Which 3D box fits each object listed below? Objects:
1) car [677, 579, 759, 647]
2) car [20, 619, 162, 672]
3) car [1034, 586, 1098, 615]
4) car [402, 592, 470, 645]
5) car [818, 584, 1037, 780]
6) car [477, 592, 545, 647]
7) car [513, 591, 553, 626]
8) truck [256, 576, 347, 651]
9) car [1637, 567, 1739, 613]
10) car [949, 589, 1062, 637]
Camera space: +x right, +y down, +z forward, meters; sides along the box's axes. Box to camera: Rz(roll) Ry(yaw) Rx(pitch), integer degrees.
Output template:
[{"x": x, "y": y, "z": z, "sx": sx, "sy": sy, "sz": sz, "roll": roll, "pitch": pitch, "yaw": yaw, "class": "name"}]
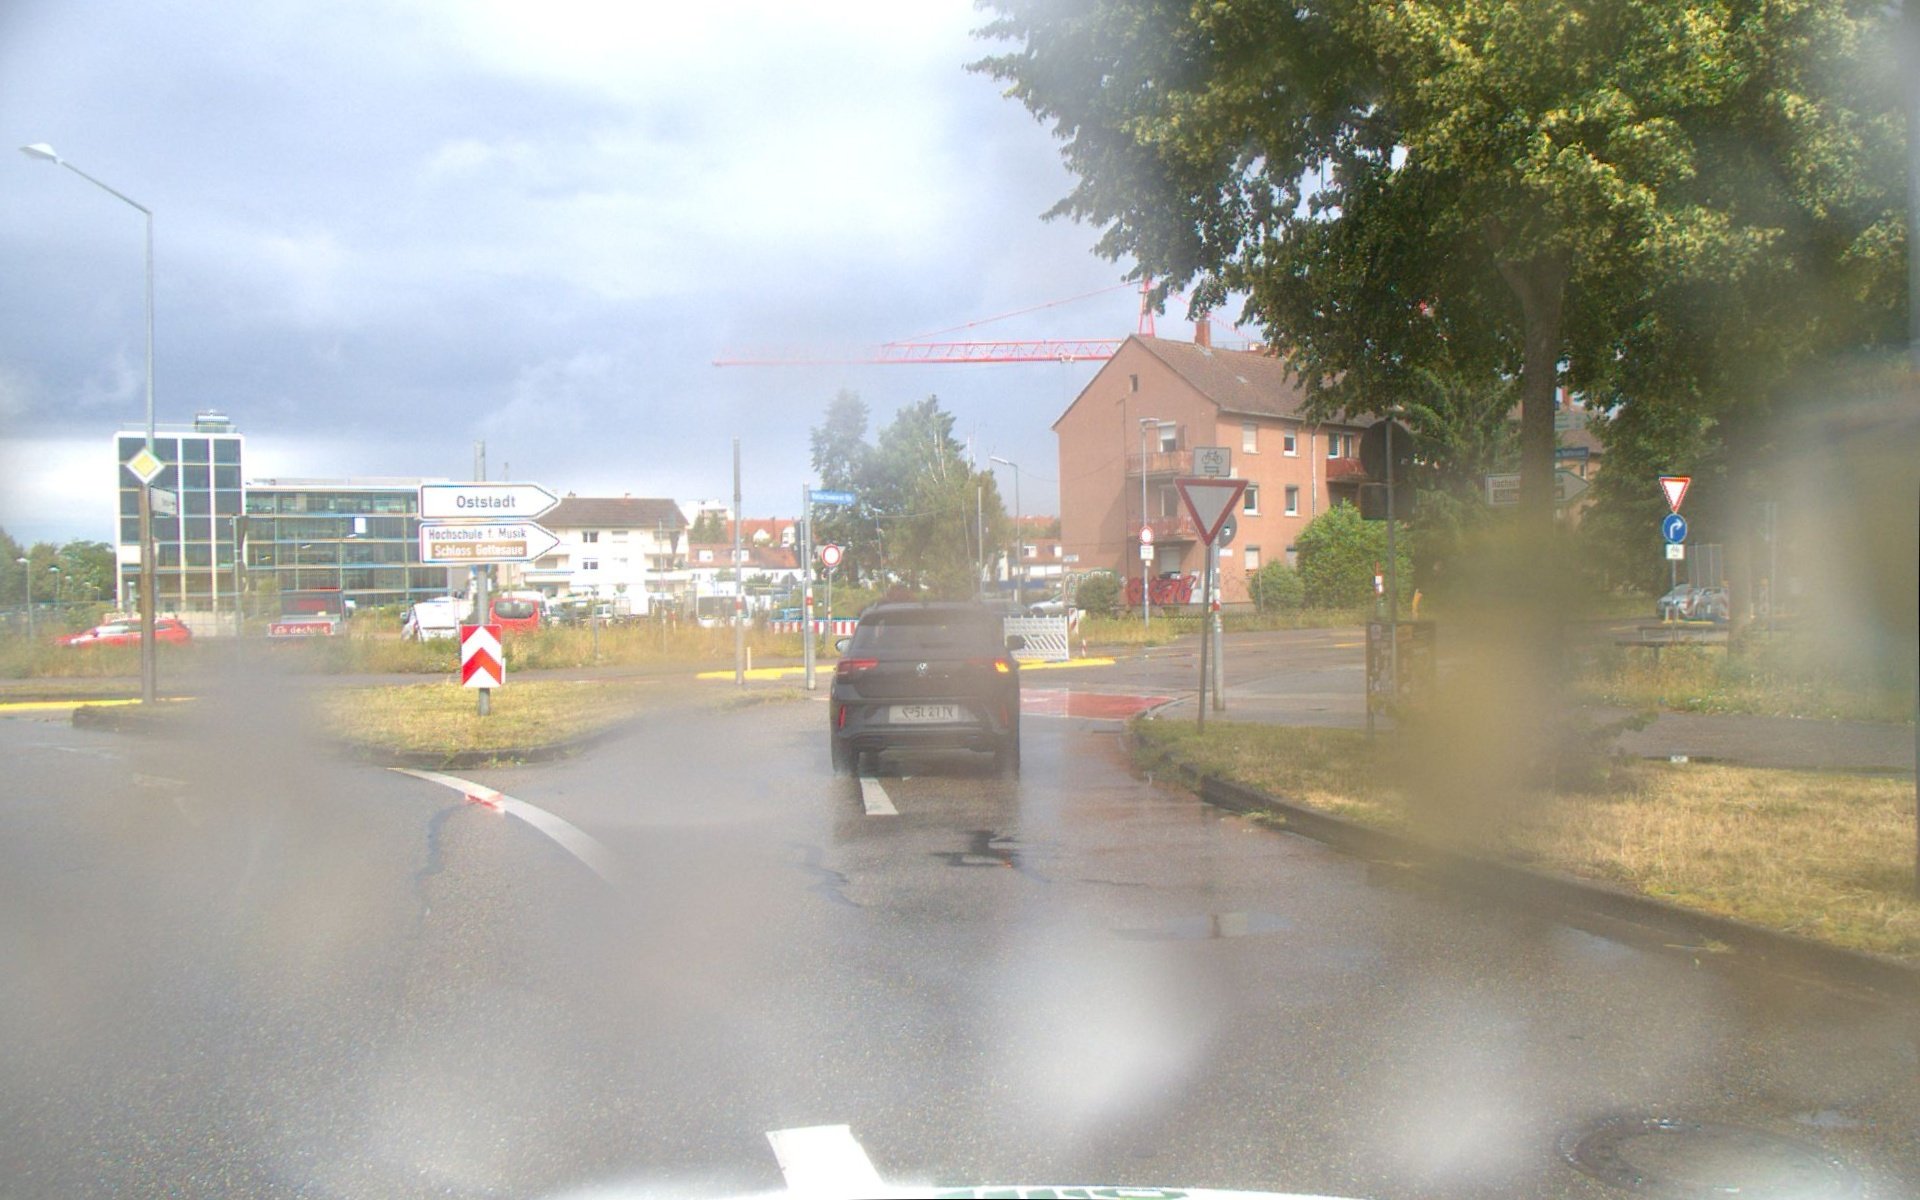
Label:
[{"x": -8.680, "y": 0.390, "z": 58.832, "sx": 2.004, "sy": 2.121, "sz": 6.238, "roll": -1, "pitch": 2, "yaw": -16, "class": "car"}, {"x": -29.094, "y": 1.496, "z": 55.477, "sx": 4.132, "sy": 1.536, "sz": 1.840, "roll": -1, "pitch": 2, "yaw": -29, "class": "car"}, {"x": 5.940, "y": 0.031, "z": 92.666, "sx": 3.435, "sy": 1.545, "sz": 1.618, "roll": -1, "pitch": 0, "yaw": 9, "class": "car"}, {"x": -19.227, "y": 0.649, "z": 60.596, "sx": 1.829, "sy": 1.729, "sz": 3.967, "roll": -1, "pitch": 2, "yaw": -26, "class": "car"}, {"x": -0.287, "y": 0.692, "z": 16.312, "sx": 1.858, "sy": 1.646, "sz": 4.000, "roll": -1, "pitch": 1, "yaw": 0, "class": "car"}, {"x": -16.039, "y": 0.652, "z": 58.917, "sx": 1.897, "sy": 1.729, "sz": 3.974, "roll": -1, "pitch": 2, "yaw": -22, "class": "car"}, {"x": -28.428, "y": 0.526, "z": 110.025, "sx": 2.335, "sy": 2.121, "sz": 4.949, "roll": -1, "pitch": 2, "yaw": -17, "class": "car"}, {"x": -22.389, "y": 0.394, "z": 56.499, "sx": 2.352, "sy": 2.250, "sz": 6.073, "roll": -1, "pitch": 2, "yaw": -17, "class": "truck"}, {"x": 30.427, "y": -0.461, "z": 69.062, "sx": 4.654, "sy": 1.762, "sz": 2.052, "roll": -2, "pitch": 3, "yaw": -40, "class": "car"}, {"x": 1.721, "y": 0.483, "z": 62.569, "sx": 3.977, "sy": 1.661, "sz": 1.611, "roll": -1, "pitch": 0, "yaw": -14, "class": "car"}]
